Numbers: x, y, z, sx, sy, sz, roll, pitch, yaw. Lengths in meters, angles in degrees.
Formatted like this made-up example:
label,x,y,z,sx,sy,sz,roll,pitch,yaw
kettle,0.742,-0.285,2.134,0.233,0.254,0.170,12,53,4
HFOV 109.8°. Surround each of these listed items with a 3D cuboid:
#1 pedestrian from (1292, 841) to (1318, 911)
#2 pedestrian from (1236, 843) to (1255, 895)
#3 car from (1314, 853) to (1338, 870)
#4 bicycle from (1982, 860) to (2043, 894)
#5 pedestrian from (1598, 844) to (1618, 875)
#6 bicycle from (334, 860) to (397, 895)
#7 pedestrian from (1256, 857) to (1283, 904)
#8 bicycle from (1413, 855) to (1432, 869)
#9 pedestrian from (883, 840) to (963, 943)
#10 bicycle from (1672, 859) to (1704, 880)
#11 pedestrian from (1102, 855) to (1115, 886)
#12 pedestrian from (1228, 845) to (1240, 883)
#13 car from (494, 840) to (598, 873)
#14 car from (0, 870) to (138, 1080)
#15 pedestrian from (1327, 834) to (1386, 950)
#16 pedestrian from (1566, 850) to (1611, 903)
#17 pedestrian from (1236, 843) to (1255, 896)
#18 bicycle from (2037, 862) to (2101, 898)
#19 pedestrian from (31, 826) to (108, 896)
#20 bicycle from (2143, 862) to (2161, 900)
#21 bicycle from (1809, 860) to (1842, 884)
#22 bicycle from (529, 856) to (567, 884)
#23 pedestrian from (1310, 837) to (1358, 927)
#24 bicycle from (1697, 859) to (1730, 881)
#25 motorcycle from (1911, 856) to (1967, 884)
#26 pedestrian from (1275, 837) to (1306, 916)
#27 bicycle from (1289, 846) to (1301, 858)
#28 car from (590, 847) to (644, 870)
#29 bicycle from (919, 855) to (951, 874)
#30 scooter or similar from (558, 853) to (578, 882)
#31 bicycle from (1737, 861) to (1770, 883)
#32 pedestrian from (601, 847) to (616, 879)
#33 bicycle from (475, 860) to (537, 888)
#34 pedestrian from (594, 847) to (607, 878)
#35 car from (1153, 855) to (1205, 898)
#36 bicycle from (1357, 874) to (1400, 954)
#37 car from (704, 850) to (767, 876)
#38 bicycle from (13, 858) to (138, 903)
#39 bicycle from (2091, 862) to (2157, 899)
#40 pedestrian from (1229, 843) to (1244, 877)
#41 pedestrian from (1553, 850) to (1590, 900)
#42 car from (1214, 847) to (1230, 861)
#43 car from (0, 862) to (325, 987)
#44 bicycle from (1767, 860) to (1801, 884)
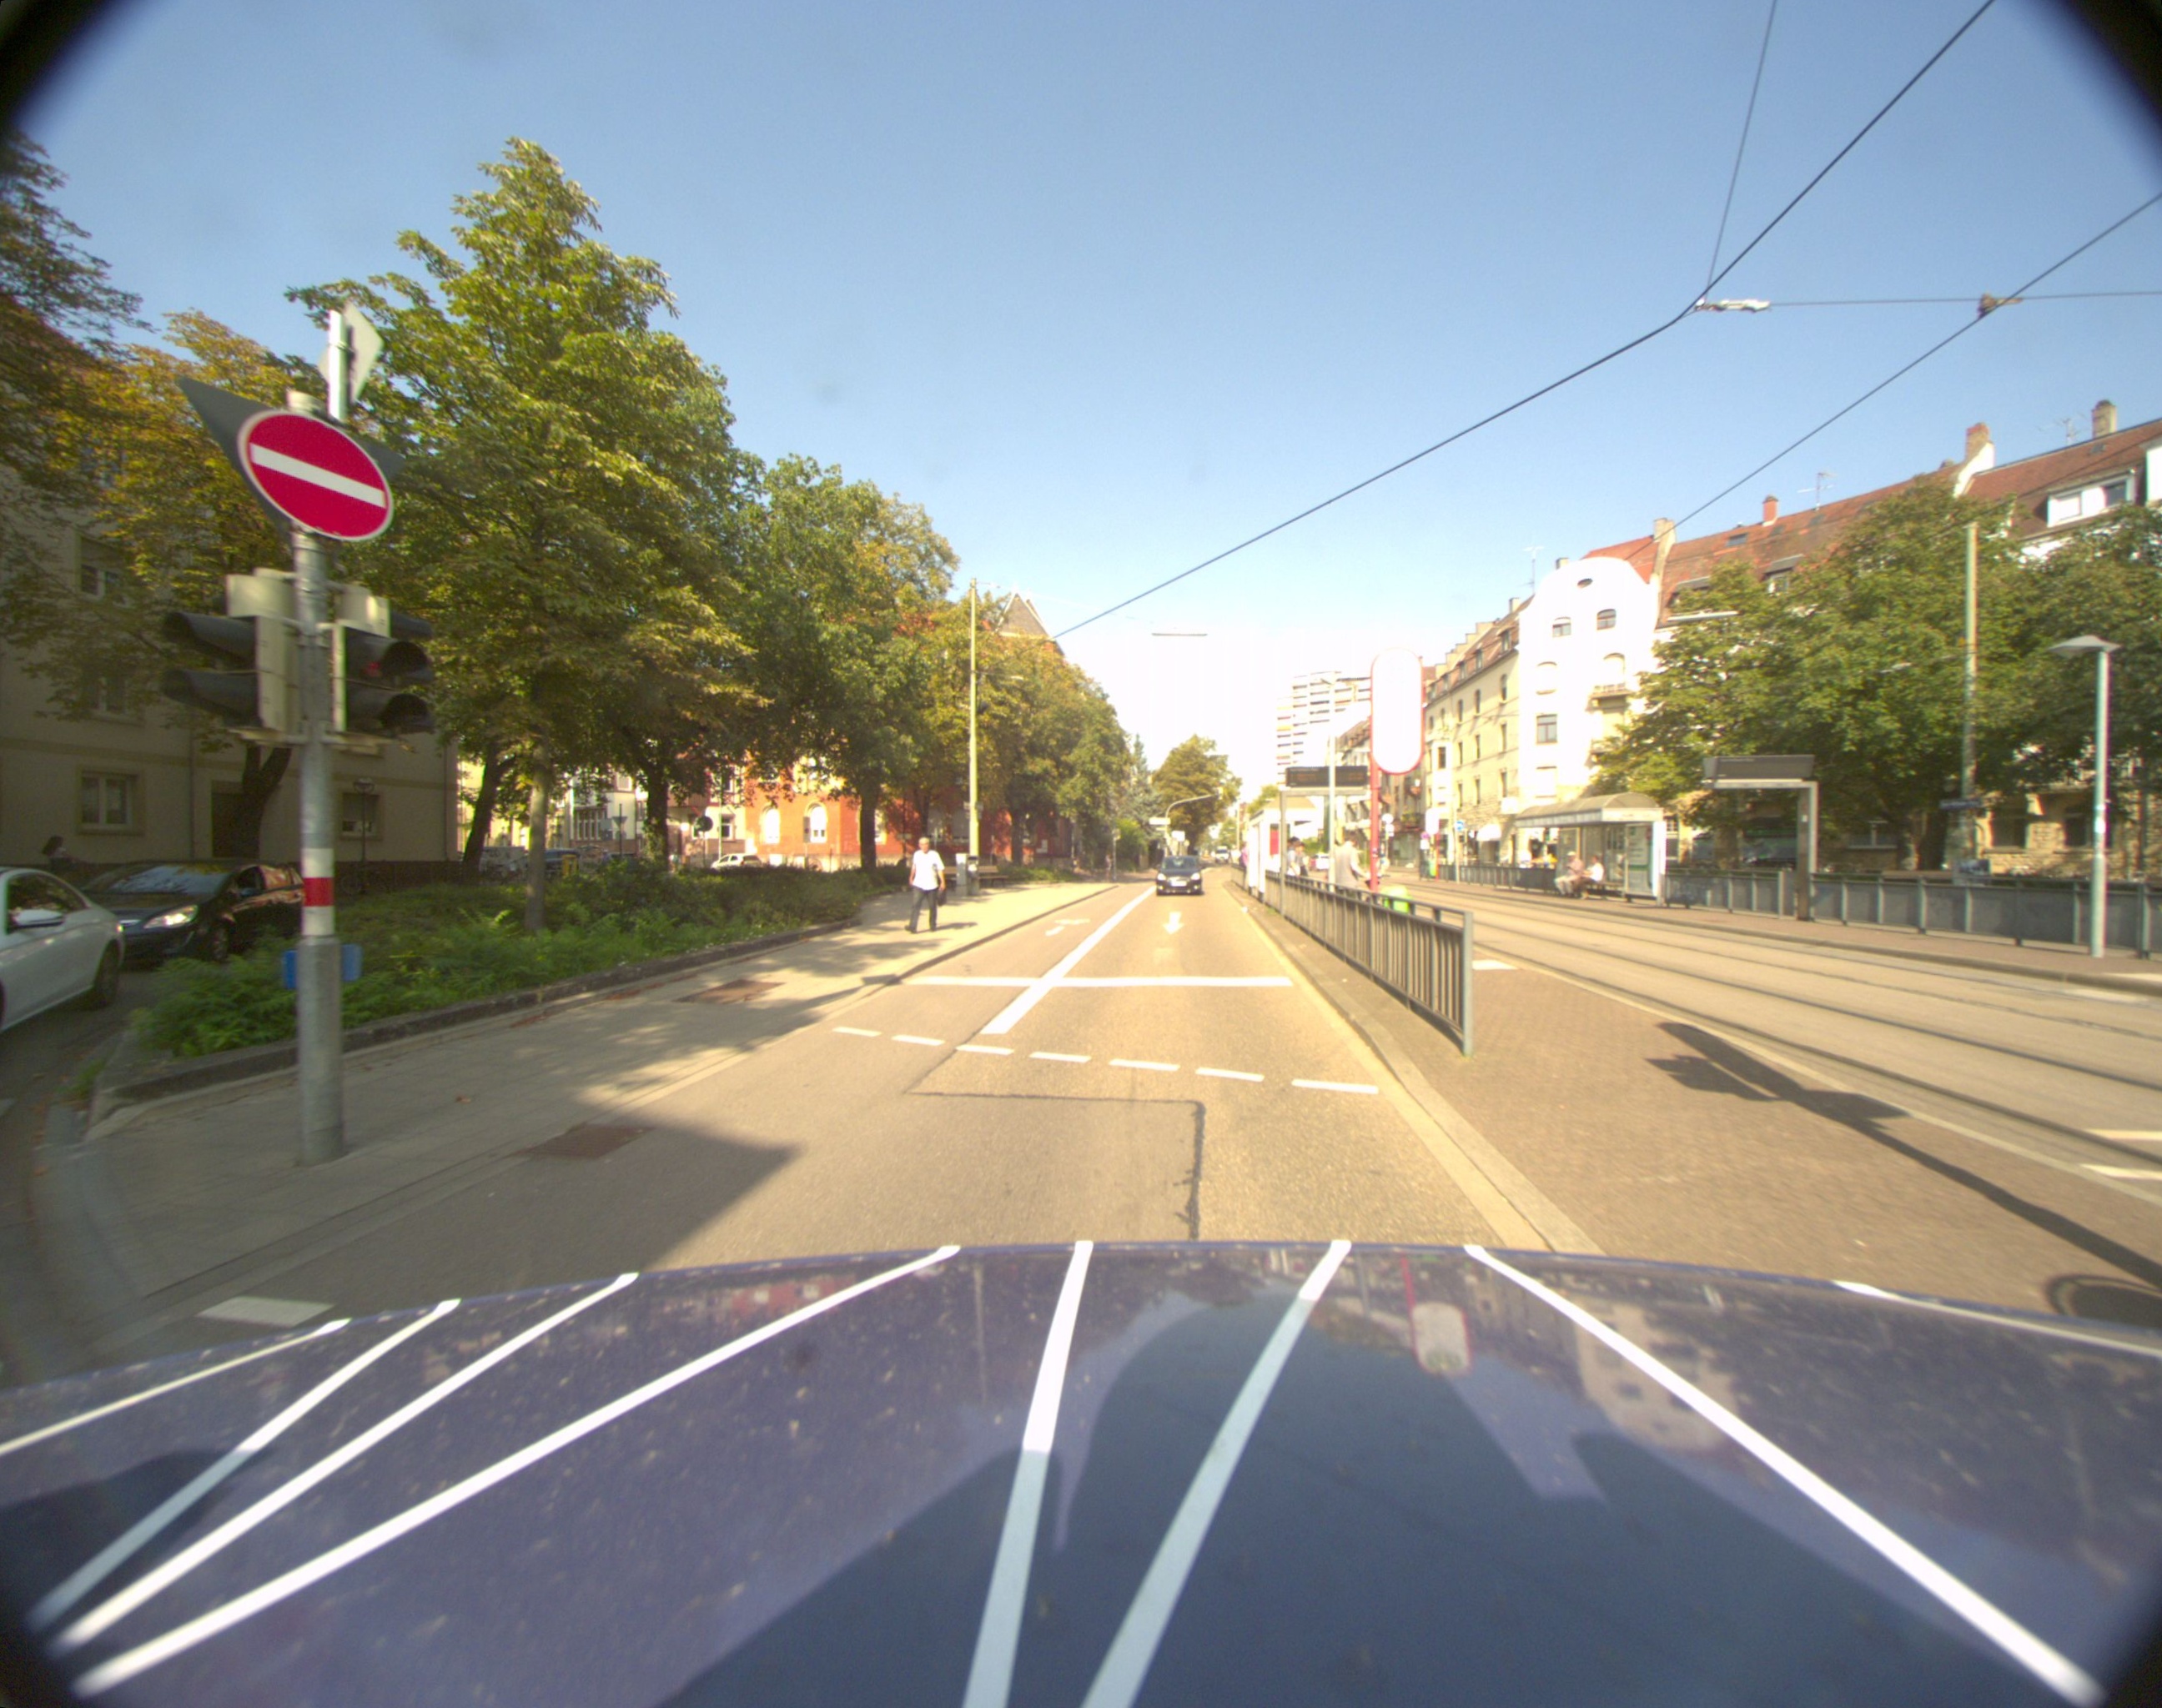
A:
label,x,y,z,sx,sy,sz,roll,pitch,yaw
pedestrian,5.660,0.546,19.199,0.553,1.750,0.533,0,1,7
pedestrian,5.901,0.543,27.285,0.638,1.837,0.634,0,1,10
car,21.379,0.600,66.353,1.731,1.426,3.926,0,1,14
bicycle,38.671,0.953,31.542,2.306,1.363,0.866,0,1,-20
pedestrian,32.001,0.352,46.155,0.735,1.857,0.673,0,1,5
bicycle,-22.958,0.742,24.411,0.416,1.054,1.489,1,1,12
pedestrian,5.594,0.771,22.565,0.709,1.370,0.623,0,1,8
bicycle,26.680,0.628,59.374,0.545,1.097,1.895,0,1,-5
pedestrian,-2.832,0.648,13.726,1.079,1.715,0.970,3,1,7
bicycle,33.299,0.860,41.678,2.345,1.073,0.695,-1,2,-34
pedestrian,1.544,0.903,42.784,0.542,1.708,0.662,1,1,24
pedestrian,7.207,0.471,35.820,0.559,1.792,0.677,1,1,12
car,-28.192,0.110,40.185,1.658,1.629,4.203,1,1,29
car,-9.577,0.932,5.945,1.881,1.460,4.939,3,-1,-41
pedestrian,4.278,0.569,11.855,0.691,1.756,0.797,0,1,7
pedestrian,14.345,0.623,21.493,0.794,1.448,0.719,0,1,9
pedestrian,5.780,0.545,26.740,0.638,1.837,0.634,0,1,10
bicycle,38.940,1.001,29.951,2.306,1.363,0.866,0,1,-20
pedestrian,-24.630,0.166,18.521,0.688,1.662,0.866,0,1,-4
bicycle,39.682,0.977,27.165,2.302,1.363,0.867,0,1,-4
bicycle,35.954,0.851,36.678,2.346,1.073,0.695,0,1,-34
bicycle,-20.922,0.604,29.798,1.834,1.052,0.610,1,1,35
pedestrian,5.013,0.535,15.094,0.769,1.750,0.681,0,1,7
bicycle,33.763,0.851,40.552,2.345,1.073,0.695,-2,2,-34
motorcycle,38.076,0.711,33.734,1.884,1.170,0.677,-1,1,-7
pedestrian,4.869,0.514,17.689,0.605,1.796,0.730,0,1,7
bicycle,33.328,-0.338,118.399,1.015,1.847,3.556,-1,1,3
car,-33.468,0.291,54.769,3.989,1.558,1.625,0,1,30
bicycle,-8.884,0.633,46.239,1.843,1.052,0.607,-2,-1,-40
scooter or similar,-20.869,0.540,30.911,1.110,1.151,0.443,1,1,43
bicycle,34.955,0.909,39.496,2.346,1.073,0.695,0,1,-34
pedestrian,-26.406,0.480,42.454,0.656,1.754,0.605,0,1,-30
bicycle,-21.716,0.742,28.710,1.868,1.052,0.608,0,1,-1
pedestrian,-27.278,0.457,43.140,0.592,1.754,0.605,0,1,-32
car,3.712,0.806,28.538,1.774,1.459,4.002,-1,0,8
bicycle,4.619,0.887,11.873,0.473,1.097,1.739,1,1,16
car,-22.056,0.551,48.432,3.989,1.558,1.625,0,1,30
bicycle,-24.431,0.621,18.520,0.534,1.001,1.909,0,1,-1
bicycle,39.393,0.985,28.703,2.306,1.363,0.866,0,1,-20
pedestrian,8.226,0.338,40.221,0.730,1.759,0.739,-2,-2,12
pedestrian,14.534,0.609,22.530,0.678,1.448,0.719,0,1,9
car,22.557,0.000,121.723,2.085,2.264,4.833,0,1,16
car,-13.101,0.880,11.092,1.754,1.443,3.881,1,0,-26
bicycle,35.071,0.886,37.898,2.345,1.073,0.695,-2,2,-34
